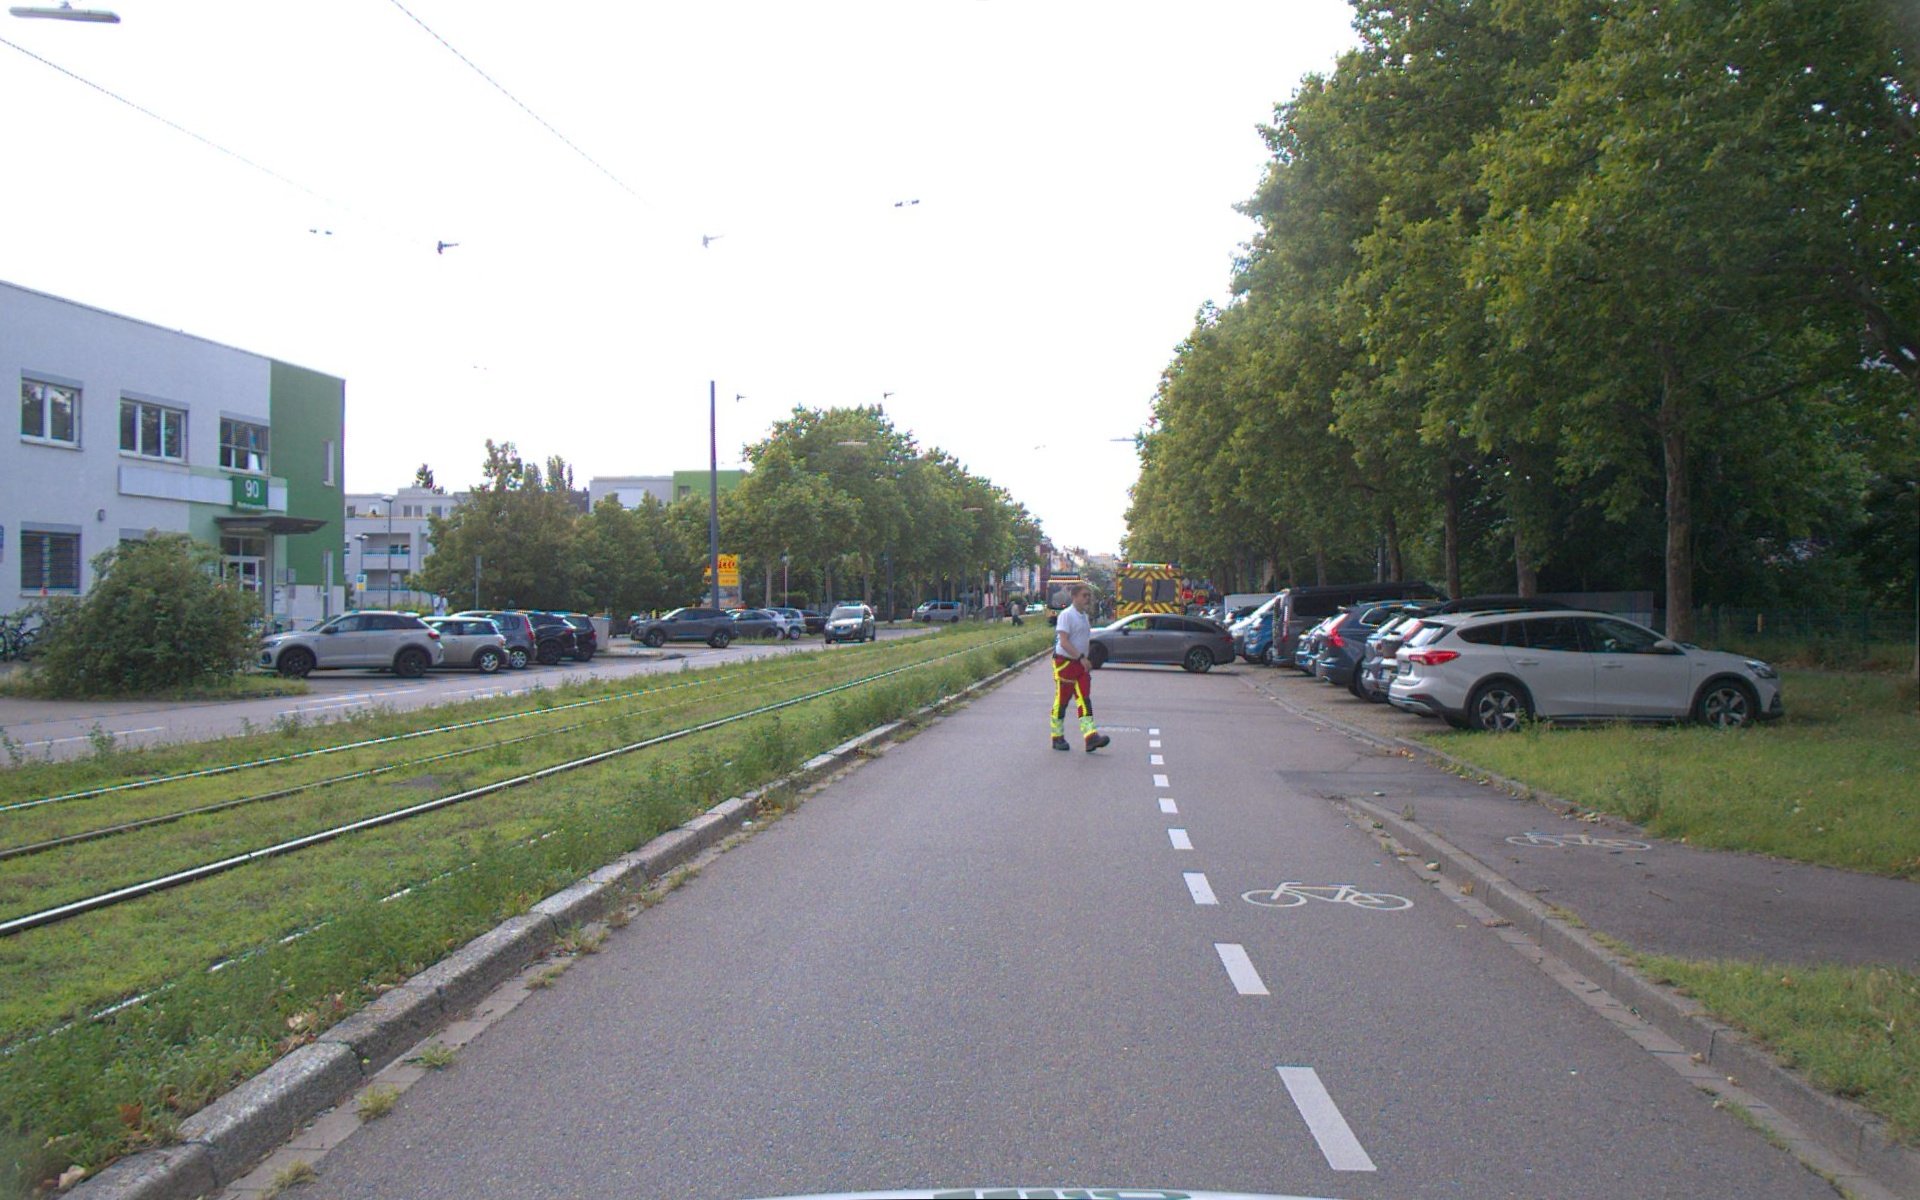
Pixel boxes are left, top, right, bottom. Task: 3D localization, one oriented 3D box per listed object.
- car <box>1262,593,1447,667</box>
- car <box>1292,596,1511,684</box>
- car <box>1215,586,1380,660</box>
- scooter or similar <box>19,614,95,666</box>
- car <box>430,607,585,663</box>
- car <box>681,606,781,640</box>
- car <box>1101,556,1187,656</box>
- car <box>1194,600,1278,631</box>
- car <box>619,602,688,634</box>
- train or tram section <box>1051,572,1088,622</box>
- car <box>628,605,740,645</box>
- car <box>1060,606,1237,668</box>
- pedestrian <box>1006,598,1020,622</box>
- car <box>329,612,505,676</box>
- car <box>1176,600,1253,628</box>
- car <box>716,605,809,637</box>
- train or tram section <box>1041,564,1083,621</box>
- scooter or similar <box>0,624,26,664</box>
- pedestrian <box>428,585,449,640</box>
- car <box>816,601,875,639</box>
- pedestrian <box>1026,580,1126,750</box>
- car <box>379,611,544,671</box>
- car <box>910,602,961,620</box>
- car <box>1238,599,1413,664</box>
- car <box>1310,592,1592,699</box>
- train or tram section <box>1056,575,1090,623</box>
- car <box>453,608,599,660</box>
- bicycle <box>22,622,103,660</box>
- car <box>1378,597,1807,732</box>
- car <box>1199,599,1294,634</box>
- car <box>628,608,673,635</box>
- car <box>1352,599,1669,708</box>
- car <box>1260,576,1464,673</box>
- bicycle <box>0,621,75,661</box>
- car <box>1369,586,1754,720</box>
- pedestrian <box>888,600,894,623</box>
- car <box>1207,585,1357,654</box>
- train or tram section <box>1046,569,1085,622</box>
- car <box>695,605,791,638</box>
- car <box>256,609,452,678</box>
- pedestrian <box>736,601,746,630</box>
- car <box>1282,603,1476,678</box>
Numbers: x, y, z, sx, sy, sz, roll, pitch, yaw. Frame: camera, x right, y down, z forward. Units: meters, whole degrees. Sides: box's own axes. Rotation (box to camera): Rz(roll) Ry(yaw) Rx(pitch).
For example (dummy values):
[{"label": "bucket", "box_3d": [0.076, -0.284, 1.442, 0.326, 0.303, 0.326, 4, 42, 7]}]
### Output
[{"label": "car", "box_3d": [10.216, 0.769, 43.138, 4.449, 1.797, 1.857, -1, -1, 6]}, {"label": "car", "box_3d": [8.841, 0.786, 33.314, 3.887, 1.633, 1.754, -1, 0, -4]}, {"label": "car", "box_3d": [9.809, 0.671, 48.289, 4.451, 2.036, 1.856, -1, -1, 2]}, {"label": "scooter or similar", "box_3d": [-21.235, 0.932, 38.914, 1.280, 1.176, 1.090, 1, -1, 35]}, {"label": "car", "box_3d": [-13.189, 0.989, 48.173, 4.164, 1.508, 1.870, -1, 0, -23]}, {"label": "car", "box_3d": [-10.467, 1.063, 75.764, 4.176, 1.508, 1.865, 1, -1, -30]}, {"label": "car", "box_3d": [6.225, 0.202, 55.360, 2.585, 3.018, 6.304, 3, 0, 8]}, {"label": "car", "box_3d": [15.438, 0.857, 92.603, 4.451, 1.637, 1.856, -1, 0, 2]}, {"label": "car", "box_3d": [-18.619, 1.101, 100.331, 3.923, 1.780, 1.991, 2, 0, 38]}, {"label": "train or tram section", "box_3d": [8.440, -0.157, 126.977, 2.458, 3.647, 7.449, -2, -1, 6]}, {"label": "car", "box_3d": [-10.969, 0.984, 65.612, 4.156, 1.508, 1.873, 1, -1, -19]}, {"label": "car", "box_3d": [4.774, 0.931, 42.230, 4.360, 1.410, 1.767, 2, 0, 4]}, {"label": "pedestrian", "box_3d": [3.482, 0.651, 108.240, 0.862, 1.552, 0.751, 1, -1, 6]}, {"label": "car", "box_3d": [-13.879, 1.083, 42.264, 4.164, 1.508, 1.870, -1, 0, -23]}, {"label": "car", "box_3d": [15.494, 0.842, 100.889, 4.451, 1.637, 1.856, -1, 0, 2]}, {"label": "car", "box_3d": [-9.741, 1.045, 81.652, 4.176, 1.508, 1.865, 1, -1, -30]}, {"label": "train or tram section", "box_3d": [6.931, -0.414, 112.168, 2.458, 3.647, 7.449, -2, -1, 6]}, {"label": "scooter or similar", "box_3d": [-22.931, 1.017, 38.910, 1.698, 0.915, 0.459, 2, -1, 7]}, {"label": "pedestrian", "box_3d": [-17.581, 0.425, 55.741, 0.534, 1.860, 0.509, 0, 0, 4]}, {"label": "car", "box_3d": [-5.151, 0.882, 75.108, 1.951, 1.585, 4.372, -1, 0, 5]}, {"label": "pedestrian", "box_3d": [1.203, 0.664, 17.291, 0.790, 1.716, 0.847, 1, -1, -16]}, {"label": "car", "box_3d": [-13.625, 1.094, 45.192, 4.164, 1.508, 1.870, -1, 0, -23]}, {"label": "car", "box_3d": [-2.276, 1.023, 154.065, 4.570, 1.661, 1.862, 0, 0, -33]}, {"label": "car", "box_3d": [10.051, 0.855, 45.706, 4.451, 1.689, 1.856, -1, 0, 2]}, {"label": "car", "box_3d": [8.122, 0.744, 27.680, 4.287, 1.668, 1.757, -1, -1, 8]}, {"label": "train or tram section", "box_3d": [9.204, -0.029, 134.360, 2.458, 3.647, 7.449, -2, -1, 6]}, {"label": "car", "box_3d": [-13.456, 1.033, 51.276, 4.164, 1.508, 1.870, -1, 0, -23]}, {"label": "bicycle", "box_3d": [-22.539, 1.028, 41.556, 1.818, 0.915, 0.459, 2, -1, 7]}, {"label": "car", "box_3d": [7.632, 0.758, 20.303, 4.561, 1.499, 1.848, -1, 0, 2]}, {"label": "car", "box_3d": [14.323, 0.814, 82.808, 4.451, 1.637, 1.856, -1, 0, 2]}, {"label": "car", "box_3d": [-21.549, 1.463, 115.208, 1.951, 1.780, 4.003, 2, 0, 6]}, {"label": "car", "box_3d": [8.244, 0.794, 25.109, 4.287, 1.527, 1.757, -1, 0, 8]}, {"label": "car", "box_3d": [9.477, 0.584, 39.254, 4.449, 2.161, 1.857, -1, -1, 6]}, {"label": "bicycle", "box_3d": [-22.639, 1.009, 40.415, 1.818, 0.915, 0.459, 2, -1, 7]}, {"label": "car", "box_3d": [8.060, 0.693, 22.507, 4.561, 1.654, 1.848, -1, 0, 2]}, {"label": "pedestrian", "box_3d": [-5.150, 0.865, 123.812, 0.412, 1.760, 0.467, 0, 0, 2]}, {"label": "car", "box_3d": [10.255, 0.625, 52.866, 4.451, 2.079, 1.856, -1, -1, 2]}, {"label": "train or tram section", "box_3d": [7.681, -0.286, 119.566, 2.458, 3.647, 7.449, -2, -1, 6]}, {"label": "car", "box_3d": [-10.305, 1.010, 78.664, 4.176, 1.508, 1.865, 1, -1, -30]}, {"label": "car", "box_3d": [-14.377, 1.005, 39.252, 4.173, 1.508, 1.866, -1, 0, -28]}, {"label": "pedestrian", "box_3d": [-12.866, 0.915, 97.227, 0.456, 1.706, 0.603, 0, 0, 4]}, {"label": "car", "box_3d": [9.104, 0.882, 36.181, 3.881, 1.520, 1.757, -1, -1, 6]}]
